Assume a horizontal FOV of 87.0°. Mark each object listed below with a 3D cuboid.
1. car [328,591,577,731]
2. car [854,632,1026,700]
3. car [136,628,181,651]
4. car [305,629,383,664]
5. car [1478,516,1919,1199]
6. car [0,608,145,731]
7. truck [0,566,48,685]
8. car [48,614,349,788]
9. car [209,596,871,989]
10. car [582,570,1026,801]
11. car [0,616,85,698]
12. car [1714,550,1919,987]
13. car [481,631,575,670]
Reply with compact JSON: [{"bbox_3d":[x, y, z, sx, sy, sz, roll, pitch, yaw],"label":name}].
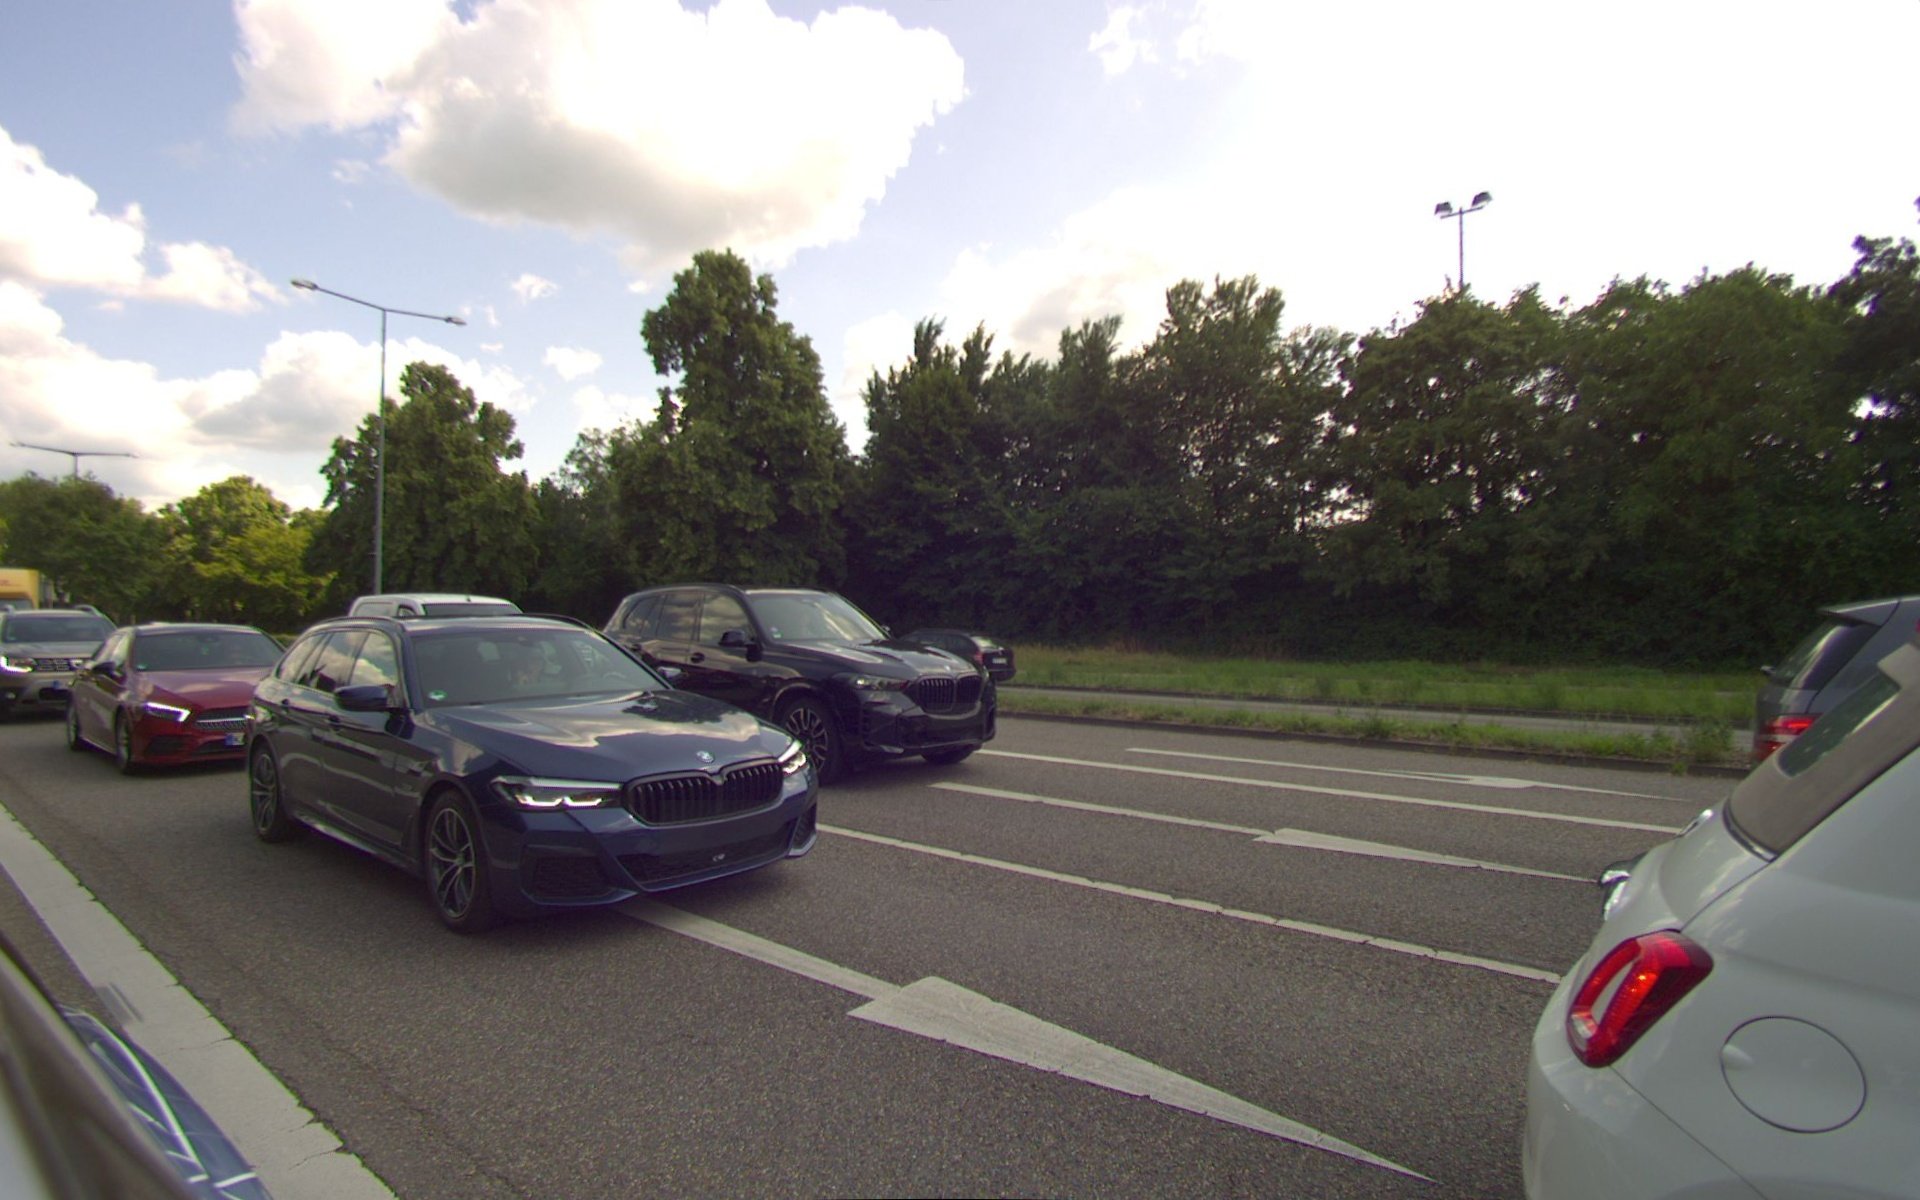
[{"bbox_3d":[-7.828,0.823,15.386,4.728,1.812,1.747,-1,-1,41],"label":"car"},{"bbox_3d":[-0.551,1.527,24.497,4.203,1.469,1.511,-1,-2,40],"label":"car"},{"bbox_3d":[-52.386,2.544,66.113,3.998,1.397,1.650,-1,0,41],"label":"car"},{"bbox_3d":[-26.504,1.987,43.522,4.236,1.435,1.650,-2,-3,41],"label":"car"},{"bbox_3d":[2.648,0.631,0.997,3.538,1.508,1.553,-1,0,41],"label":"car"},{"bbox_3d":[-13.924,0.951,15.376,4.174,1.624,1.705,-1,-1,41],"label":"car"},{"bbox_3d":[-26.062,0.680,26.568,6.963,2.881,2.333,-1,-1,41],"label":"truck"},{"bbox_3d":[-8.337,0.916,10.910,4.533,1.473,1.705,-1,0,41],"label":"car"},{"bbox_3d":[-2.877,0.765,6.194,4.871,1.508,1.778,-1,0,41],"label":"car"},{"bbox_3d":[-1.703,0.679,9.888,4.547,1.759,1.794,-1,-1,41],"label":"car"},{"bbox_3d":[-19.566,1.114,20.922,3.892,1.542,1.705,-1,0,41],"label":"car"},{"bbox_3d":[5.309,0.619,3.385,4.358,1.631,1.681,-1,-1,41],"label":"car"},{"bbox_3d":[-16.848,1.950,39.406,4.236,1.398,1.650,-1,-3,41],"label":"car"}]
